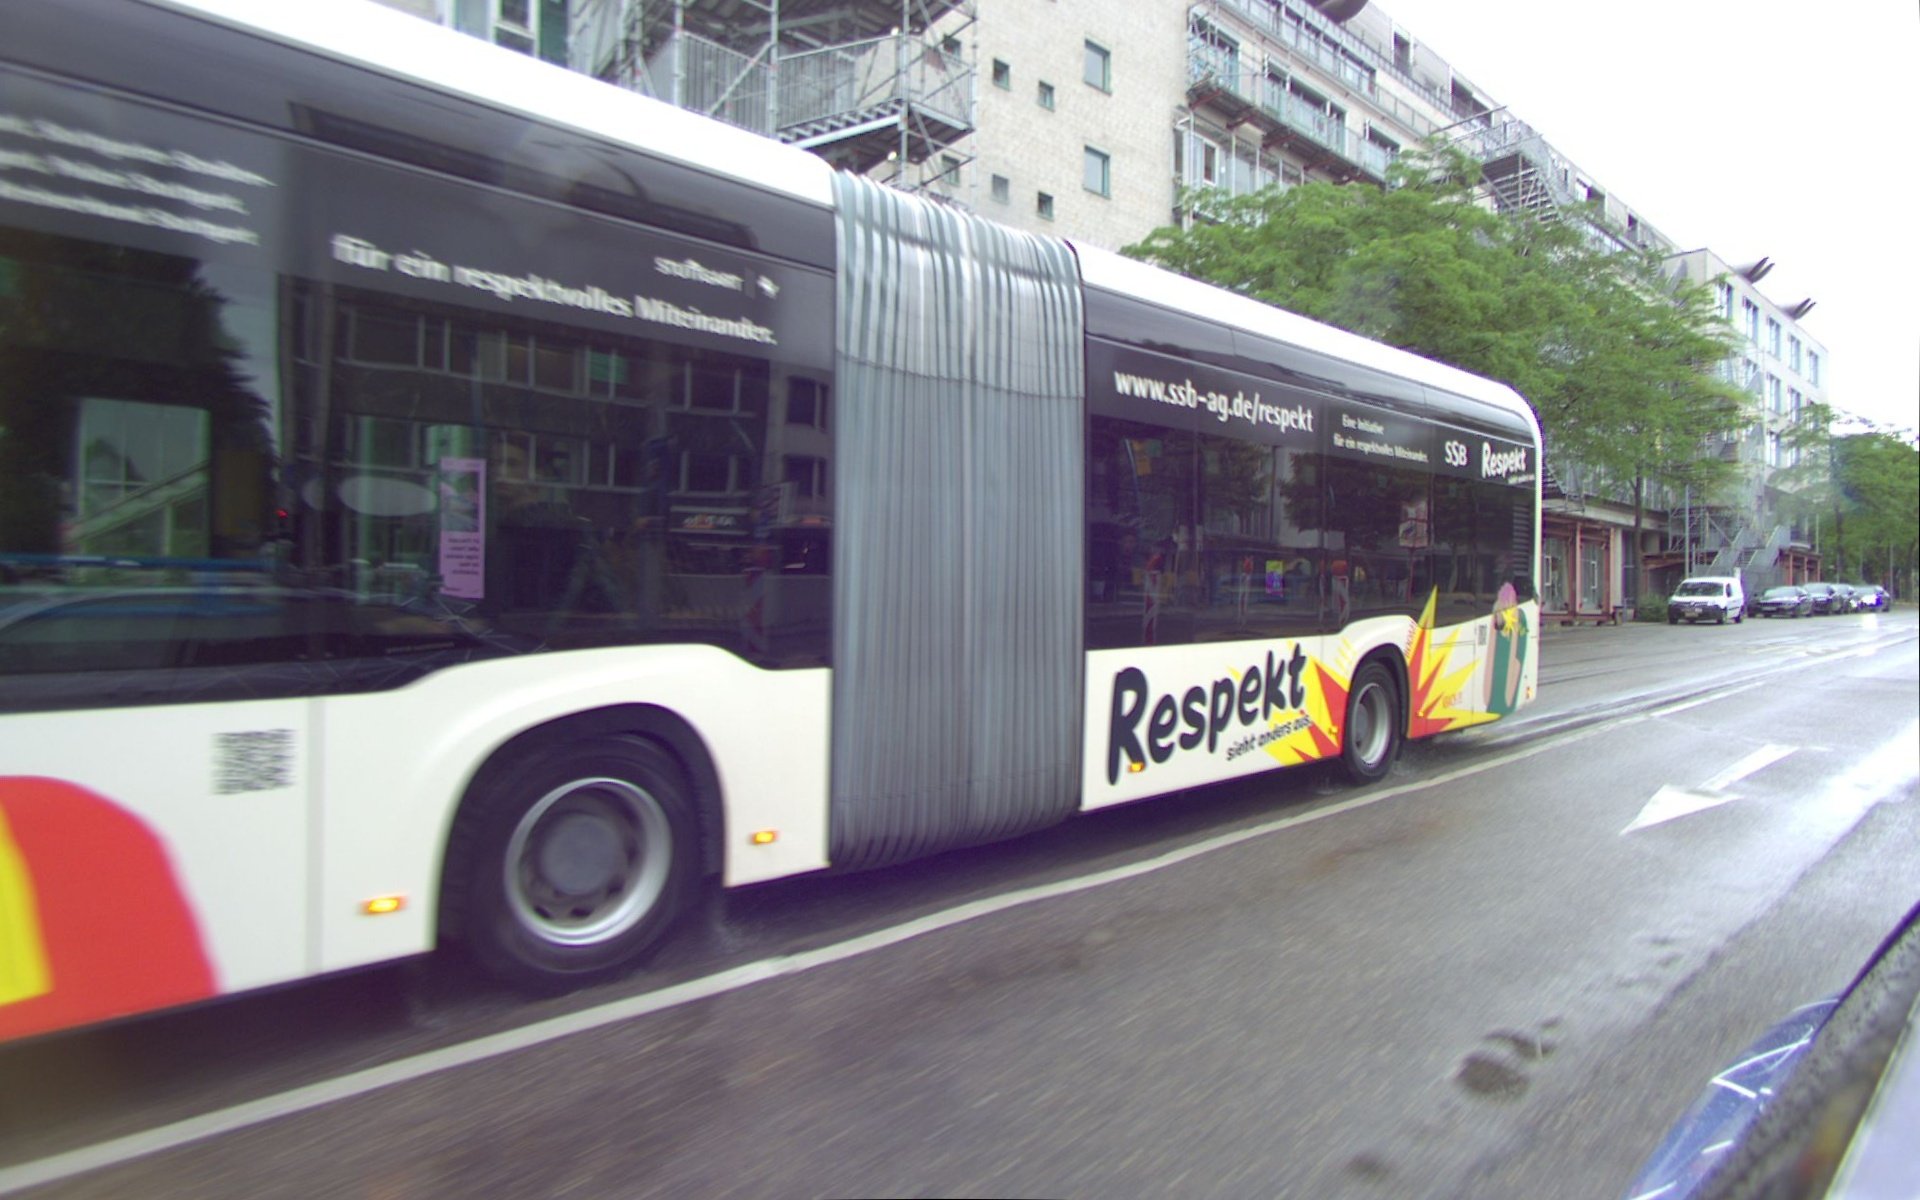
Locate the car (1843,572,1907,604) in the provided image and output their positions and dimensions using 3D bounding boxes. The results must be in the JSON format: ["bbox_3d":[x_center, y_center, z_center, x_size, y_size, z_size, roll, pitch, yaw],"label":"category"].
[{"bbox_3d":[51.774,-0.706,57.254,4.733,1.667,2.145,-2,1,-41],"label":"car"}]

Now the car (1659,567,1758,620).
[{"bbox_3d":[28.894,-0.292,39.008,4.255,1.930,2.212,-2,1,-41],"label":"car"}]

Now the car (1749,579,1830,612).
[{"bbox_3d":[37.927,-0.238,46.231,4.733,1.353,2.145,-2,1,-41],"label":"car"}]

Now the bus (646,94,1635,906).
[{"bbox_3d":[2.521,-0.543,8.575,9.541,3.483,2.888,-2,1,-41],"label":"bus"}]

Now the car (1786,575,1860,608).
[{"bbox_3d":[43.085,-0.453,50.476,4.733,1.513,2.145,-2,1,-41],"label":"car"}]

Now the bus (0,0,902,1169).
[{"bbox_3d":[-4.812,-0.332,2.219,9.587,3.493,2.888,-2,1,-41],"label":"bus"}]

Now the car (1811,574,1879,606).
[{"bbox_3d":[47.199,-0.547,53.934,4.733,1.580,2.145,-2,1,-41],"label":"car"}]
